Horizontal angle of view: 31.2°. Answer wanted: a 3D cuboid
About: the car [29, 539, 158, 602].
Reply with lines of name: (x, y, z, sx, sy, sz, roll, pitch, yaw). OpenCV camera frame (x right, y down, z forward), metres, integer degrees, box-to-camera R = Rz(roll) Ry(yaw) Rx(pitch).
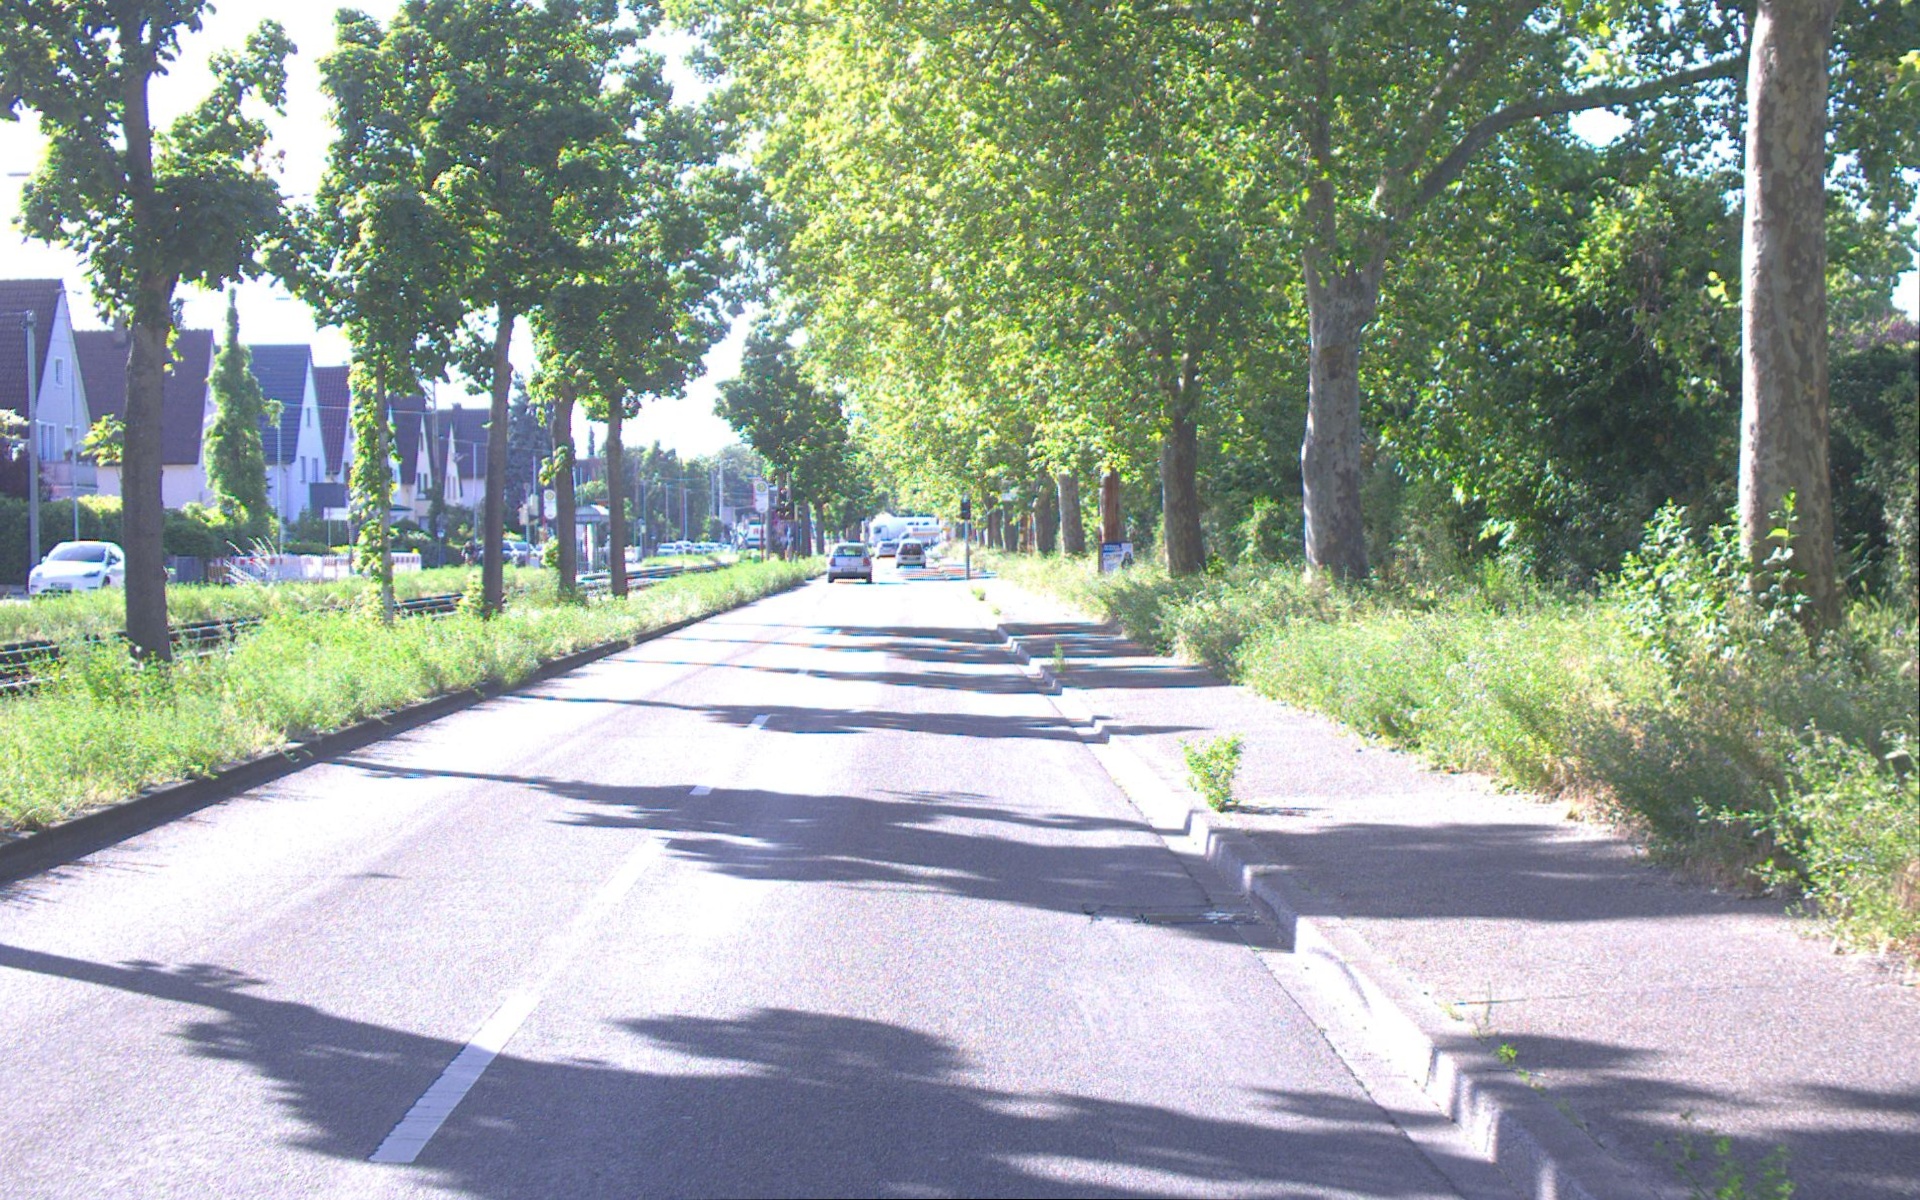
car: (-22.824, -0.789, 90.762, 1.994, 1.593, 4.731, 1, 1, 3)

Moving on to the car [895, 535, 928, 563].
car: (-2.703, -2.837, 192.421, 1.761, 1.508, 3.277, 1, 1, 0)

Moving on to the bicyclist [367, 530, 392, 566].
bicyclist: (-20.887, -1.872, 123.690, 0.798, 1.273, 0.737, 1, 1, -5)

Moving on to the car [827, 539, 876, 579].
car: (-3.943, -1.494, 125.273, 1.738, 1.396, 3.277, 1, 1, -1)

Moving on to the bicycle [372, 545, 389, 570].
bicycle: (-20.833, -1.529, 123.523, 0.441, 0.898, 2.061, 1, 1, -5)
